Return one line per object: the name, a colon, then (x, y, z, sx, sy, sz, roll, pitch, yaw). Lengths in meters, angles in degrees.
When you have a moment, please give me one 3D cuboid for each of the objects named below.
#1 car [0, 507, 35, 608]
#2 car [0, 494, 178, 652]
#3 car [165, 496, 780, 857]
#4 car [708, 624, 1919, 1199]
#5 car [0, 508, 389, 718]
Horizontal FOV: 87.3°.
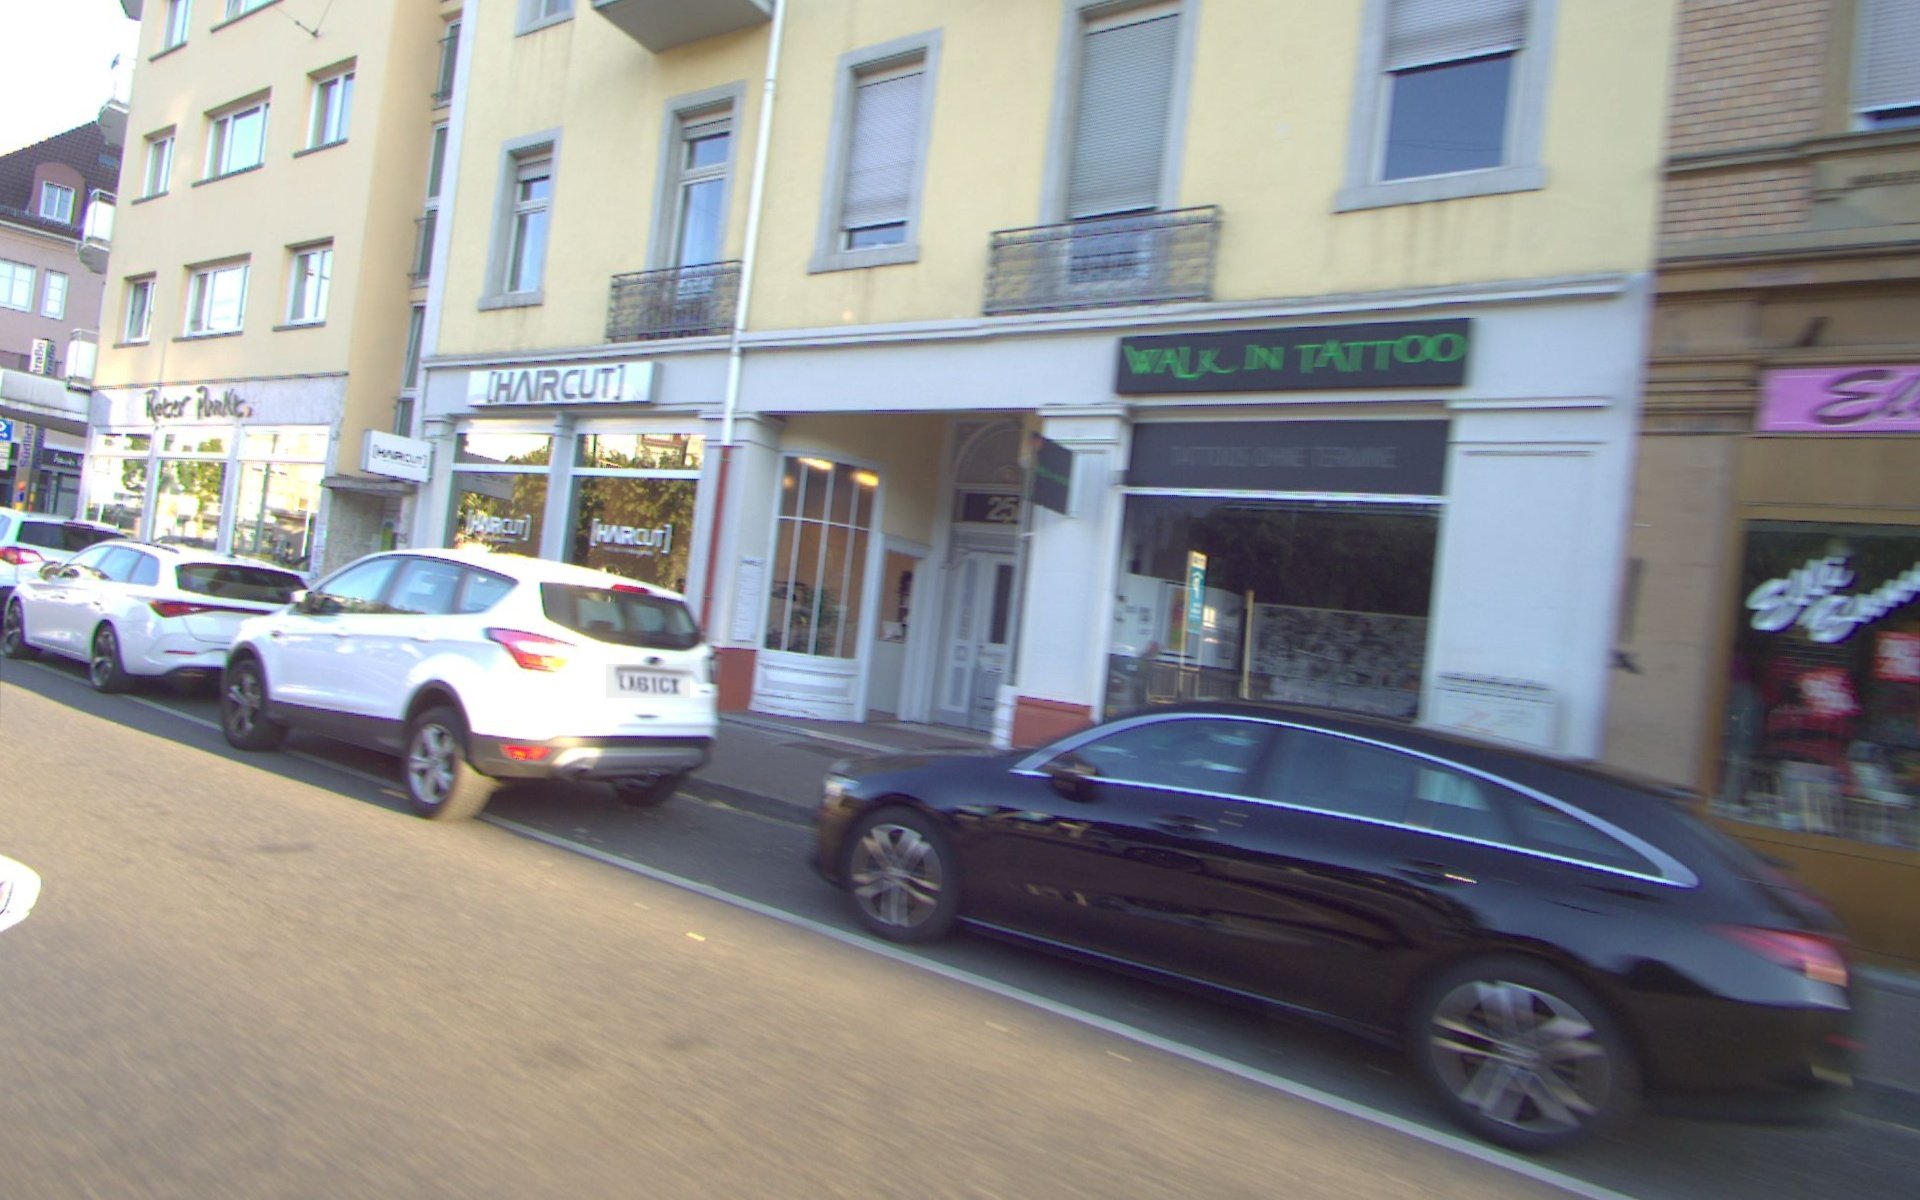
car: (-18.158, -0.982, 17.240, 4.723, 1.632, 1.998, 6, -2, 31)
car: (-13.049, -0.510, 14.017, 4.335, 1.783, 1.871, 8, -1, 32)
car: (-3.814, 0.390, 7.613, 4.582, 1.765, 1.885, 8, -1, 32)
car: (1.236, 1.166, 5.060, 4.770, 1.450, 1.997, 6, -2, 32)
car: (-8.521, 0.076, 10.820, 4.789, 1.561, 2.019, 8, -1, 33)
